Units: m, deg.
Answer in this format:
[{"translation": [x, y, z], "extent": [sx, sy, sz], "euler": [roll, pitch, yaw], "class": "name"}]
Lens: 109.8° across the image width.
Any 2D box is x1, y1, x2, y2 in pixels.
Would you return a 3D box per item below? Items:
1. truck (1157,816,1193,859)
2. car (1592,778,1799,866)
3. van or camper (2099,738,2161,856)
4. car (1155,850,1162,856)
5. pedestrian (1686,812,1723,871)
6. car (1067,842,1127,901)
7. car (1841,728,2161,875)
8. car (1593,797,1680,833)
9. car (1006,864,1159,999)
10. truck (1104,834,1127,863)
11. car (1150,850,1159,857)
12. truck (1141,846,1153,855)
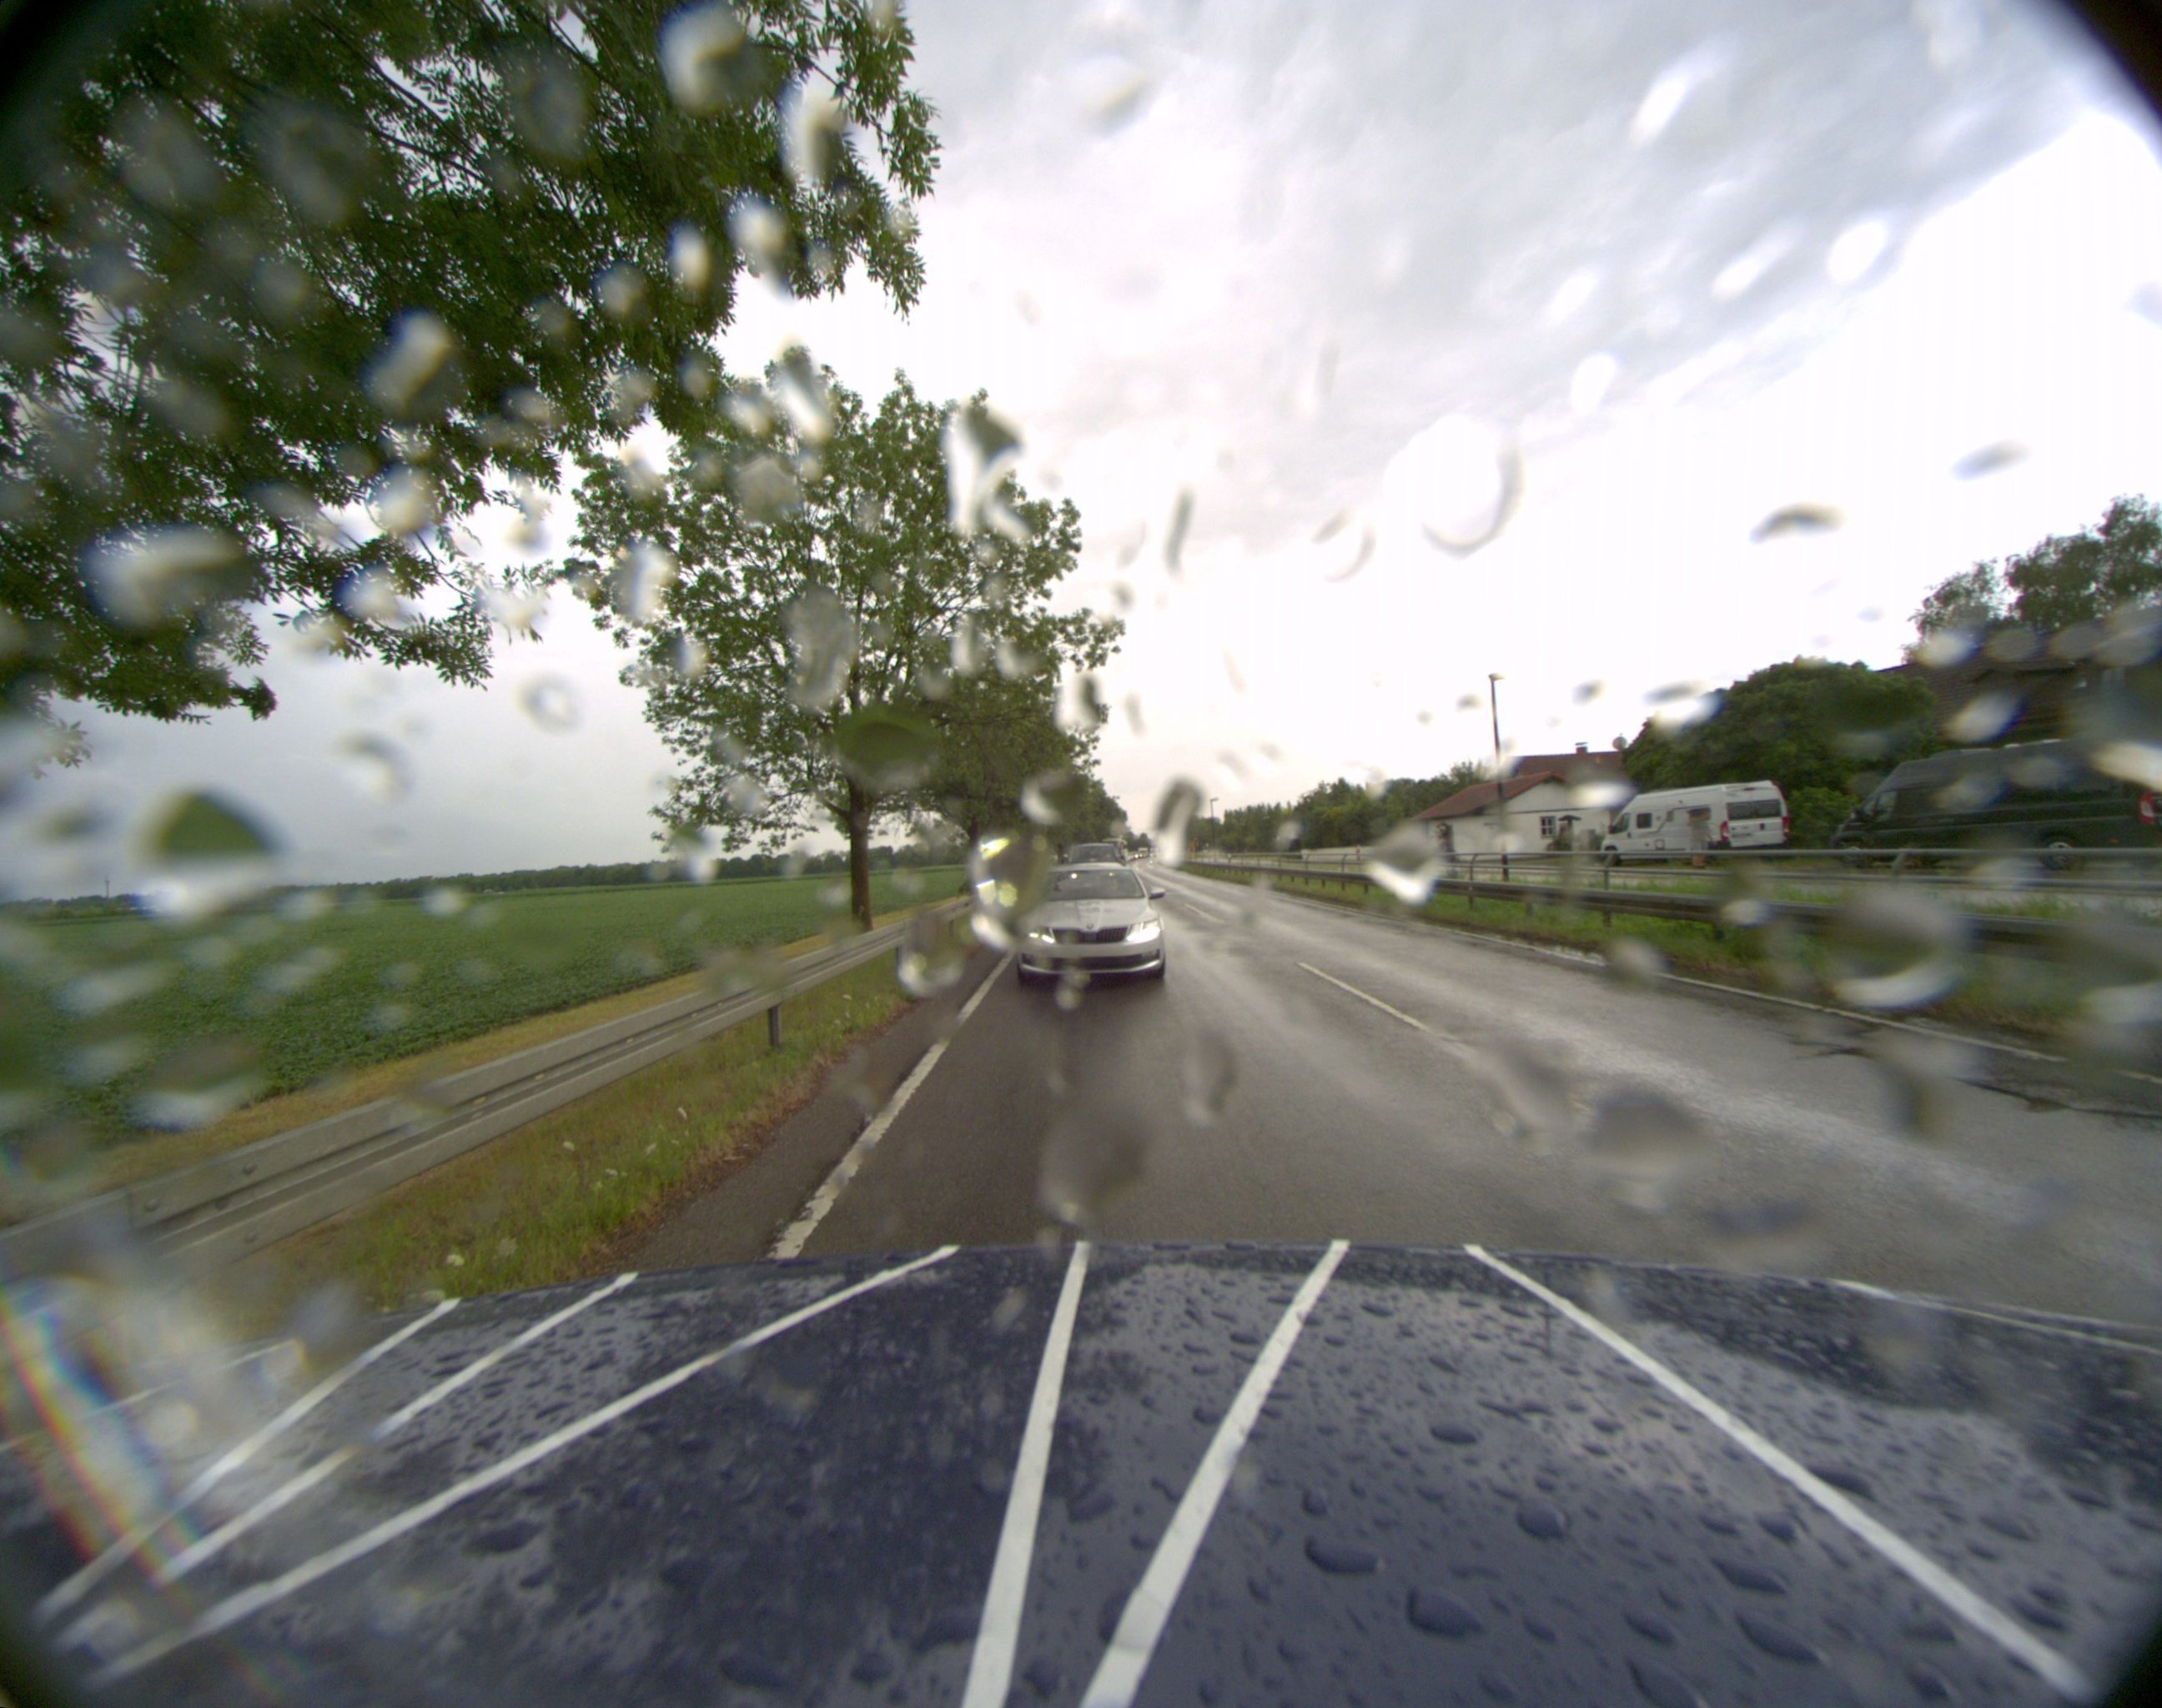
[{"translation": [11.847, -1.993, 96.512], "extent": [3.257, 5.004, 7.782], "euler": [-4, 0, 0], "class": "truck"}, {"translation": [20.889, -0.990, 26.336], "extent": [2.243, 2.565, 6.019], "euler": [-4, 0, 1], "class": "car"}, {"translation": [28.598, -1.548, 17.862], "extent": [6.069, 2.785, 2.434], "euler": [-4, 0, -1], "class": "van or camper"}, {"translation": [24.834, -0.240, 243.155], "extent": [1.811, 1.723, 4.027], "euler": [-4, 0, 2], "class": "car"}, {"translation": [18.392, -0.360, 22.433], "extent": [0.516, 1.701, 0.650], "euler": [-3, 1, 9], "class": "pedestrian"}, {"translation": [0.522, 0.567, 26.864], "extent": [1.903, 1.884, 4.000], "euler": [-1, 0, 0], "class": "car"}, {"translation": [21.158, -1.056, 17.126], "extent": [2.389, 2.747, 5.572], "euler": [-4, 0, 1], "class": "car"}, {"translation": [24.368, -1.682, 33.476], "extent": [1.452, 1.348, 3.270], "euler": [-4, 0, 2], "class": "car"}, {"translation": [0.019, 0.911, 10.639], "extent": [1.705, 1.438, 4.000], "euler": [-1, 0, 0], "class": "car"}, {"translation": [4.543, -0.755, 101.310], "extent": [2.751, 3.547, 8.387], "euler": [-4, 0, 2], "class": "truck"}, {"translation": [22.152, -0.077, 229.266], "extent": [1.998, 2.002, 4.100], "euler": [-4, 0, 1], "class": "car"}, {"translation": [18.327, -0.950, 211.643], "extent": [2.800, 2.461, 7.169], "euler": [-4, 0, 4], "class": "truck"}]
